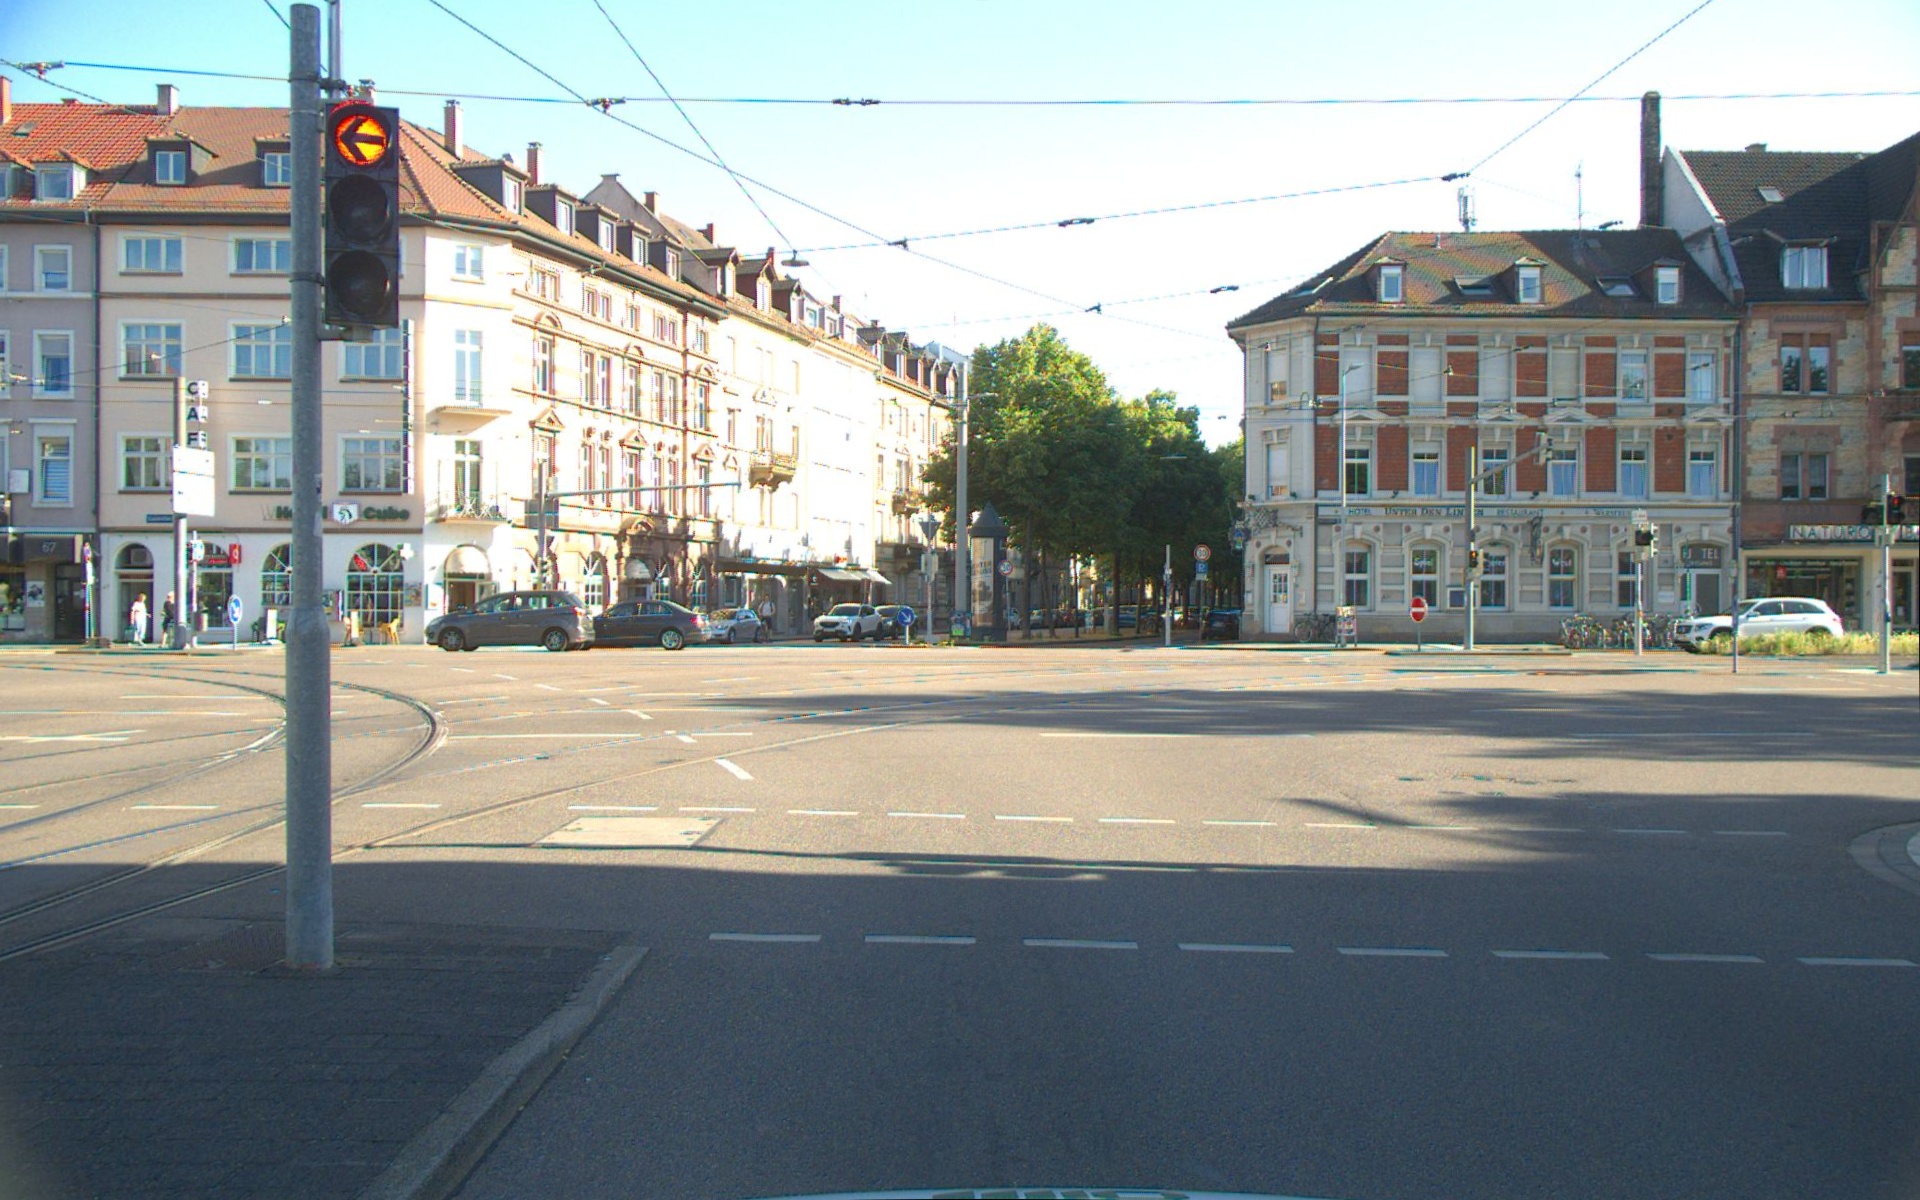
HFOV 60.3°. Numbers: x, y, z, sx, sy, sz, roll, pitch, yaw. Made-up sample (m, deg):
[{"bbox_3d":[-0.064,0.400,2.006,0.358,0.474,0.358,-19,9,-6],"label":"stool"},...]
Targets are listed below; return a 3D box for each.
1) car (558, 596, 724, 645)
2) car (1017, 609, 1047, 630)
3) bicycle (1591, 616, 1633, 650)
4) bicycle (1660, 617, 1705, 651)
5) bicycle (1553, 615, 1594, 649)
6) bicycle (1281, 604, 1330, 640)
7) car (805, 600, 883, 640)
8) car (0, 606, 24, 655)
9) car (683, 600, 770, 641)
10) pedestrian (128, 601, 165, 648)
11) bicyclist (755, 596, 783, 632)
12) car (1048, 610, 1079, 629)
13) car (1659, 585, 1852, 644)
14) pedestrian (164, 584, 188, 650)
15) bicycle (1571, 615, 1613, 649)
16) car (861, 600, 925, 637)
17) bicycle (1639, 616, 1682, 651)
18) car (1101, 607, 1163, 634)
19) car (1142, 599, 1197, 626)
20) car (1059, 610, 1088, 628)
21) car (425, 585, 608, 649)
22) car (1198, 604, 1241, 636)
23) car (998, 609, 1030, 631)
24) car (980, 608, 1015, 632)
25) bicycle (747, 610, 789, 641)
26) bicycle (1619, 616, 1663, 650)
[{"bbox_3d":[-9.100,0.569,47.413,4.420,1.364,1.999,0,0,-3],"label":"car"},{"bbox_3d":[5.336,1.415,122.839,1.704,1.422,4.127,3,0,9],"label":"car"},{"bbox_3d":[21.118,1.050,53.593,0.593,1.069,1.641,0,0,-6],"label":"bicycle"},{"bbox_3d":[23.330,1.087,53.422,0.593,1.069,1.641,0,0,-6],"label":"bicycle"},{"bbox_3d":[19.825,1.027,53.511,0.593,1.069,1.641,0,0,-6],"label":"bicycle"},{"bbox_3d":[11.976,0.765,57.301,1.603,1.243,0.607,0,0,16],"label":"bicycle"},{"bbox_3d":[-4.651,0.790,67.079,2.052,1.525,4.003,0,0,13],"label":"car"},{"bbox_3d":[-32.063,0.997,52.155,3.910,1.489,1.998,-1,1,-6],"label":"car"},{"bbox_3d":[-9.450,0.812,67.220,2.052,1.572,4.367,0,0,13],"label":"car"},{"bbox_3d":[-26.935,0.802,54.771,0.774,1.553,0.859,0,0,0],"label":"pedestrian"},{"bbox_3d":[-7.559,0.544,65.464,0.776,1.399,1.109,0,0,14],"label":"bicyclist"},{"bbox_3d":[8.246,1.540,131.706,1.704,1.422,4.127,3,0,13],"label":"car"},{"bbox_3d":[23.350,0.406,48.639,4.750,1.689,1.999,0,0,-3],"label":"car"},{"bbox_3d":[-24.666,0.538,52.035,0.498,2.049,0.505,0,0,2],"label":"pedestrian"},{"bbox_3d":[20.466,1.038,53.567,0.593,1.069,1.641,0,0,-6],"label":"bicycle"},{"bbox_3d":[-2.958,0.798,73.472,1.951,1.540,4.004,0,0,11],"label":"car"},{"bbox_3d":[22.604,1.075,53.401,0.593,1.069,1.641,0,0,-6],"label":"bicycle"},{"bbox_3d":[12.006,1.404,115.383,4.024,1.675,1.748,3,0,15],"label":"car"},{"bbox_3d":[16.960,1.016,133.664,4.026,1.952,1.746,3,0,21],"label":"car"},{"bbox_3d":[9.424,1.576,136.502,1.704,1.422,4.127,3,0,13],"label":"car"},{"bbox_3d":[-11.955,0.440,44.793,4.418,1.701,1.999,0,0,-2],"label":"car"},{"bbox_3d":[12.975,1.005,82.465,1.616,1.551,3.755,0,-1,17],"label":"car"},{"bbox_3d":[3.806,1.359,115.839,1.704,1.422,4.127,3,0,9],"label":"car"},{"bbox_3d":[2.528,1.312,110.016,1.704,1.422,4.127,3,0,9],"label":"car"},{"bbox_3d":[-7.573,0.995,65.494,0.734,1.155,2.812,0,0,14],"label":"bicycle"},{"bbox_3d":[21.944,1.063,53.325,0.593,1.069,1.641,0,0,-6],"label":"bicycle"}]
